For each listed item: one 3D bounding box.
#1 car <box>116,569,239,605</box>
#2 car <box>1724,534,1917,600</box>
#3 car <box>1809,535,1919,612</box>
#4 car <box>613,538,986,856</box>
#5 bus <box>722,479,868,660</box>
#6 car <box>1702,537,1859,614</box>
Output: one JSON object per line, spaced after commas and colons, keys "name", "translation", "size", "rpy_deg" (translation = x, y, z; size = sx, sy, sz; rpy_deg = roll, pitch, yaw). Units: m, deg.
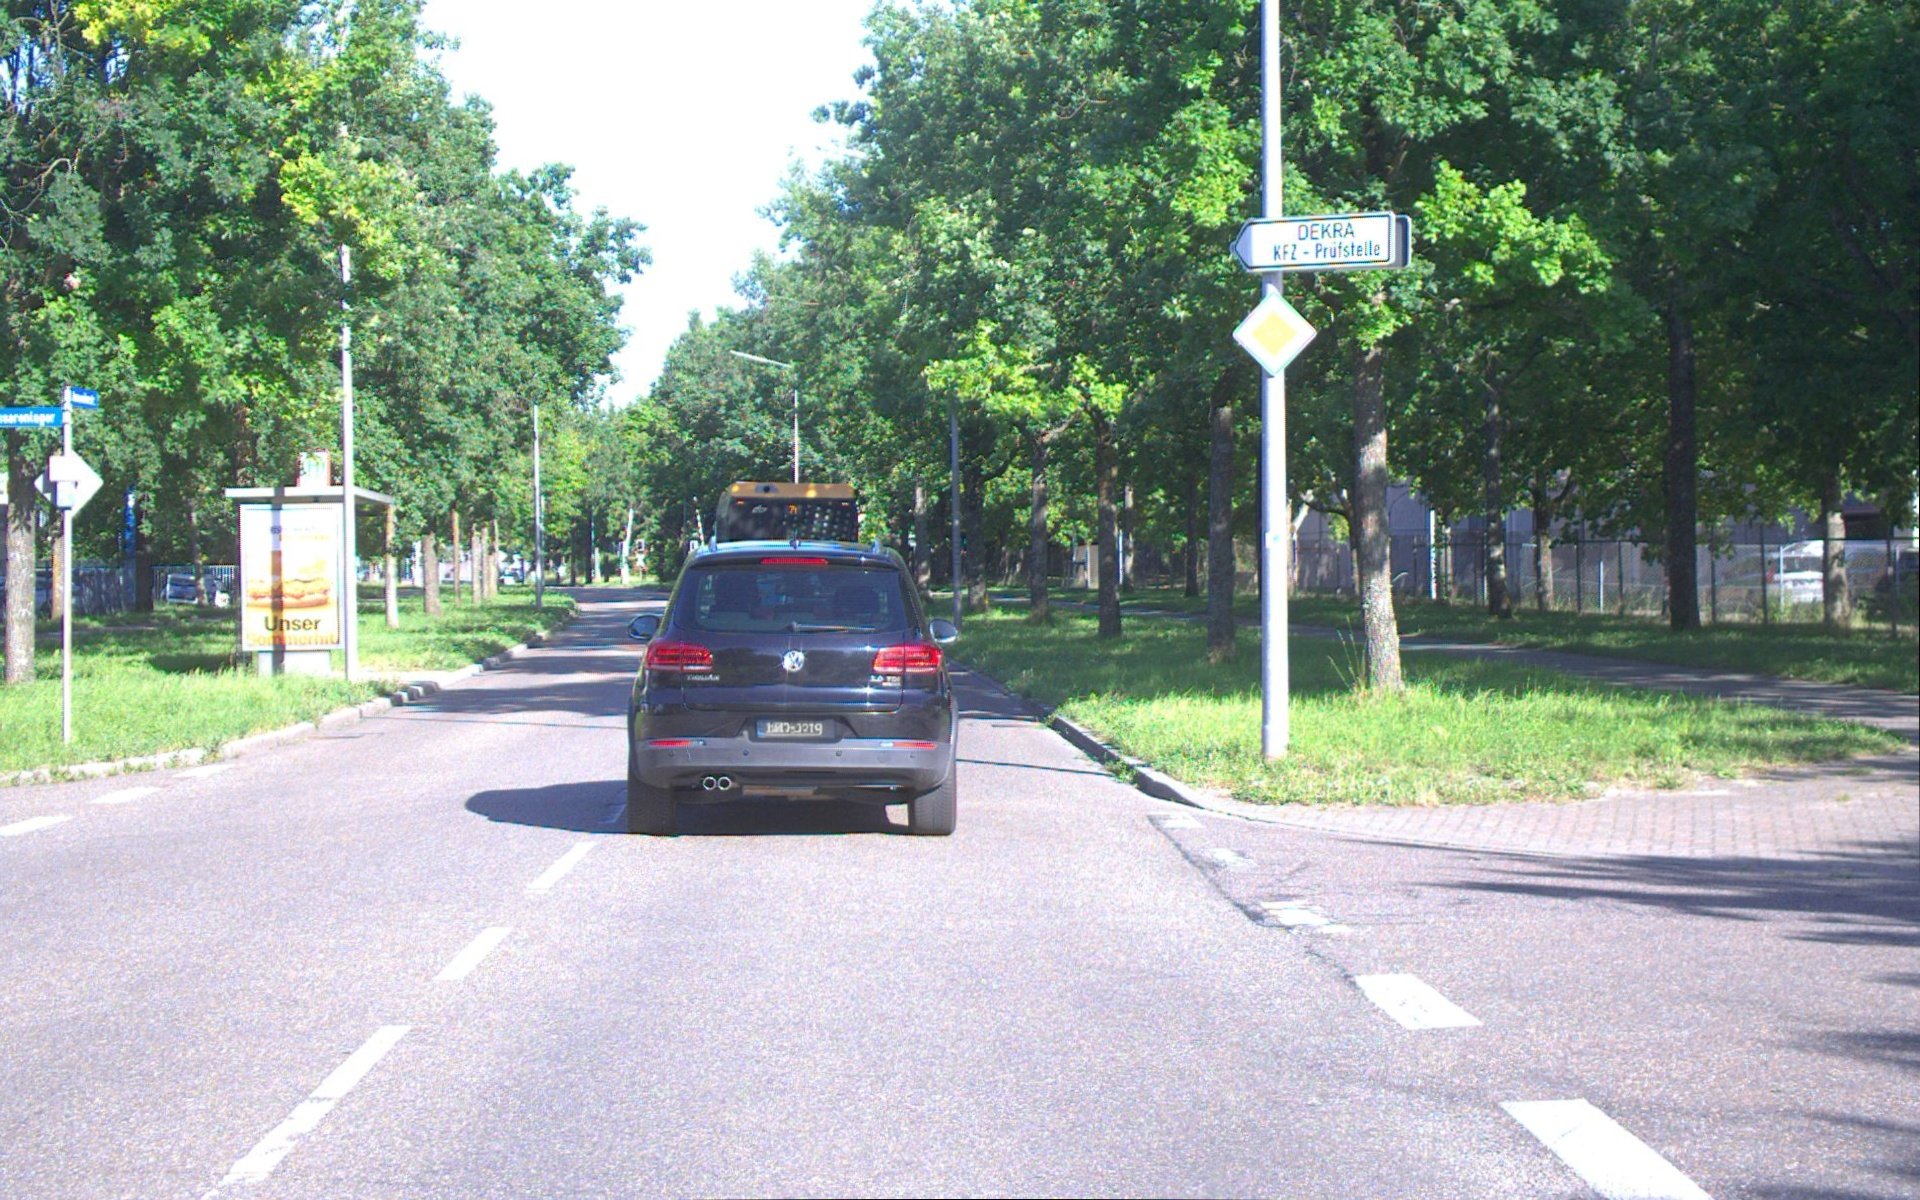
{"name": "car", "translation": [-29.661, -0.500, 130.418], "size": [4.198, 1.317, 1.941], "rpy_deg": [-1, 1, 2]}
{"name": "car", "translation": [23.520, -0.914, 94.049], "size": [4.625, 1.738, 2.192], "rpy_deg": [-1, 1, -9]}
{"name": "car", "translation": [21.700, -0.645, 80.415], "size": [2.184, 1.738, 4.642], "rpy_deg": [-1, 1, -5]}
{"name": "car", "translation": [-0.989, 0.477, 20.337], "size": [1.936, 1.650, 4.428], "rpy_deg": [1, 1, -4]}
{"name": "bus", "translation": [-3.454, -0.663, 71.407], "size": [2.764, 3.445, 11.212], "rpy_deg": [-1, 1, -3]}
{"name": "car", "translation": [19.114, -0.585, 80.294], "size": [2.184, 1.738, 4.642], "rpy_deg": [-1, 1, -5]}
